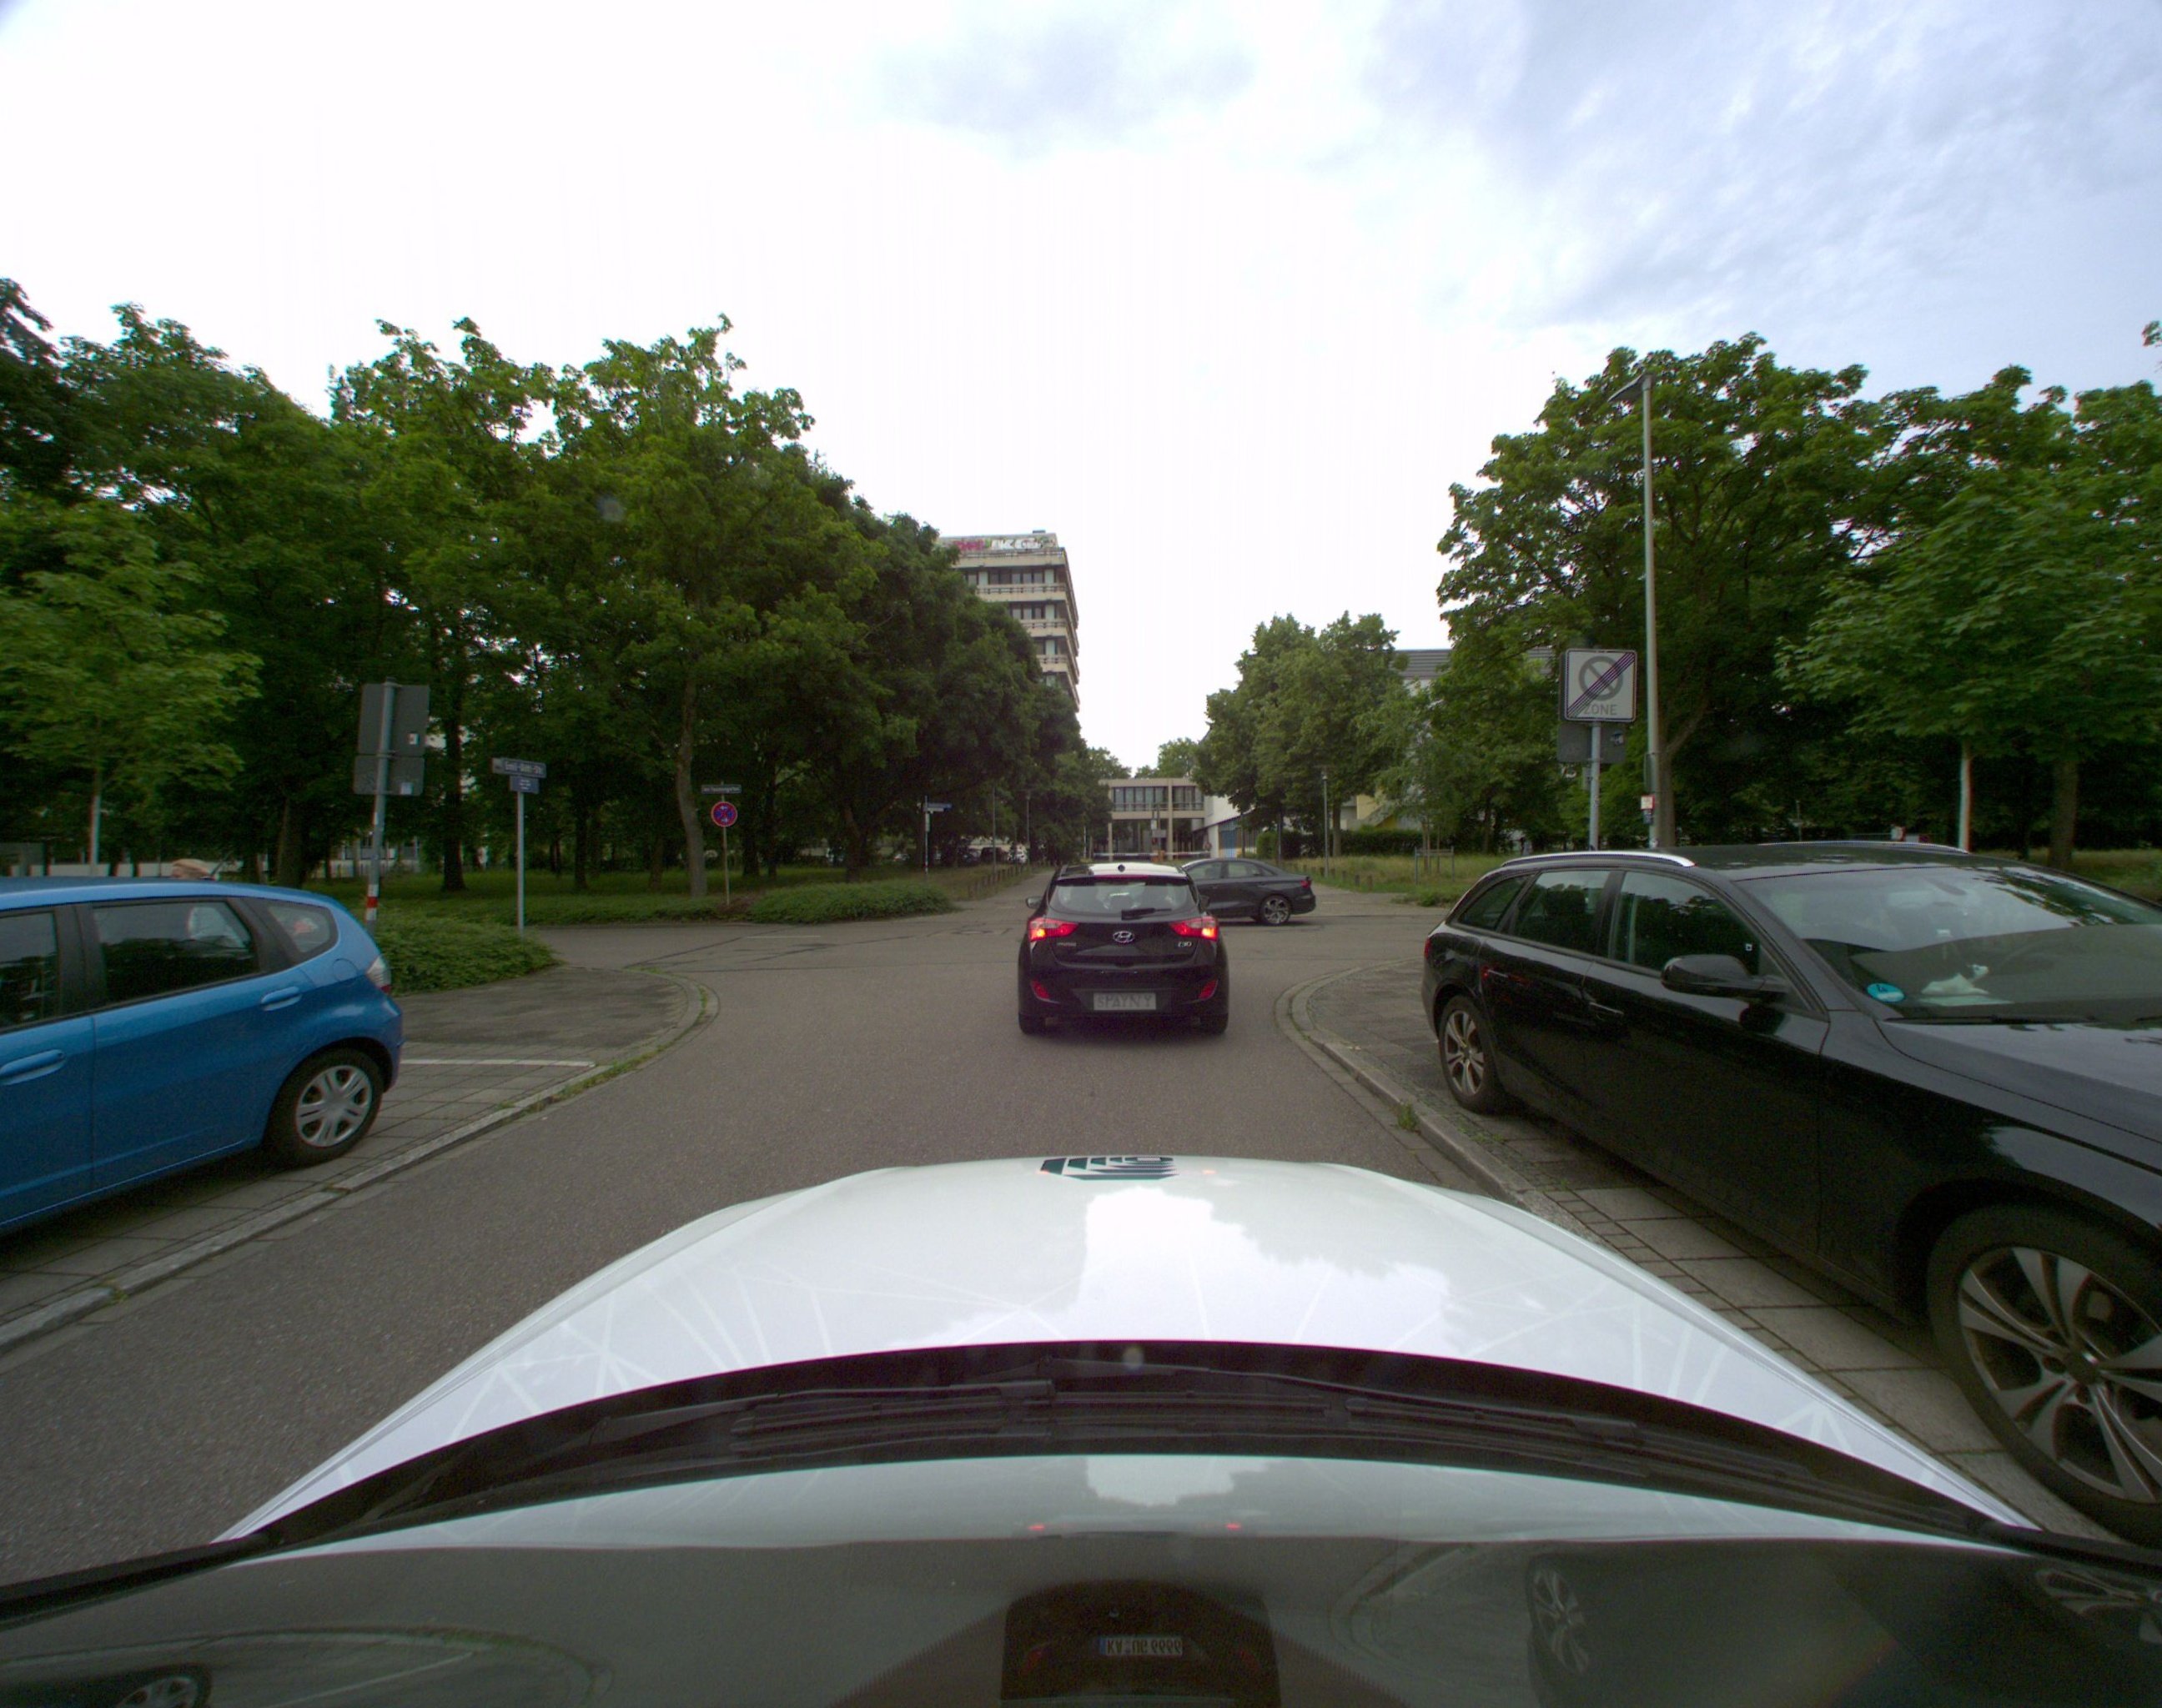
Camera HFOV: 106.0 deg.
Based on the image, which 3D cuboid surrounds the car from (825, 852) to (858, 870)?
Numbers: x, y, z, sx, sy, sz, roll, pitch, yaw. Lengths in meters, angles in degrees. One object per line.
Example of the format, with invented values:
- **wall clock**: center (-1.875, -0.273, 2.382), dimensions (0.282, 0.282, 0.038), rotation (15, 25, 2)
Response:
- **car**: center (-22.205, 0.645, 75.635), dimensions (1.913, 1.618, 3.996), rotation (-1, 0, -2)

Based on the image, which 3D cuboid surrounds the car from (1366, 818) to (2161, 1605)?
- **car**: center (2.914, 0.635, 3.227), dimensions (1.855, 1.462, 4.724), rotation (-2, 0, 0)

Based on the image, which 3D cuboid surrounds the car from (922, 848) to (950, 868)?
- **car**: center (-13.339, 0.427, 75.025), dimensions (1.989, 1.728, 3.996), rotation (-1, -2, -2)

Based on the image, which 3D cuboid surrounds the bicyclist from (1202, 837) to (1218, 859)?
- **bicyclist**: center (9.513, -0.451, 60.056), dimensions (1.013, 1.644, 0.924), rotation (-1, 0, 2)

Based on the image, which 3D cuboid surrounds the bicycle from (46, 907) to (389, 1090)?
- **bicycle**: center (-6.822, 1.063, 6.544), dimensions (0.531, 1.119, 1.830), rotation (-1, 0, 37)

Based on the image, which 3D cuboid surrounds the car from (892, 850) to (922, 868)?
- **car**: center (-16.048, 0.465, 75.148), dimensions (1.989, 1.618, 3.996), rotation (-1, 0, -2)

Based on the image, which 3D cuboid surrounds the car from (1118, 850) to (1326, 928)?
- **car**: center (2.876, 0.702, 17.295), dimensions (4.091, 1.462, 1.870), rotation (-1, 0, -1)

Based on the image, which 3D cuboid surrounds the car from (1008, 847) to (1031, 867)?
- **car**: center (-5.655, 0.332, 75.262), dimensions (1.989, 1.762, 3.996), rotation (-1, -1, -2)

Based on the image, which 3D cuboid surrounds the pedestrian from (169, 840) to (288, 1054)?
- **pedestrian**: center (-6.568, 0.673, 6.280), dimensions (0.442, 1.549, 0.571), rotation (2, 1, 37)

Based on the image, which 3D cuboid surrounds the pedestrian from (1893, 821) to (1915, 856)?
- **pedestrian**: center (42.070, -0.782, 41.638), dimensions (0.567, 1.798, 0.545), rotation (-1, 1, 11)

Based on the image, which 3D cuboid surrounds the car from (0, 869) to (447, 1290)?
- **car**: center (-4.807, 0.850, 3.016), dimensions (1.724, 1.462, 3.958), rotation (1, 0, 1)

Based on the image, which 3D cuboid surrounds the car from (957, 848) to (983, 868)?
- **car**: center (-10.235, 0.390, 75.292), dimensions (1.989, 1.794, 3.996), rotation (-1, -2, -2)

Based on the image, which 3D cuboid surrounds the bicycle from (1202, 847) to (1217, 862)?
- **bicycle**: center (9.506, 0.035, 60.176), dimensions (0.863, 1.074, 2.143), rotation (-1, 1, 3)

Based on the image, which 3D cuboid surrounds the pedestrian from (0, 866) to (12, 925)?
- **pedestrian**: center (-29.468, 1.122, 21.834), dimensions (0.693, 1.583, 0.656), rotation (-1, 1, 3)

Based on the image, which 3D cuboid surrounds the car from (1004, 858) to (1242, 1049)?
- **car**: center (0.314, 0.782, 8.256), dimensions (1.840, 1.462, 3.826), rotation (-1, 0, -1)
